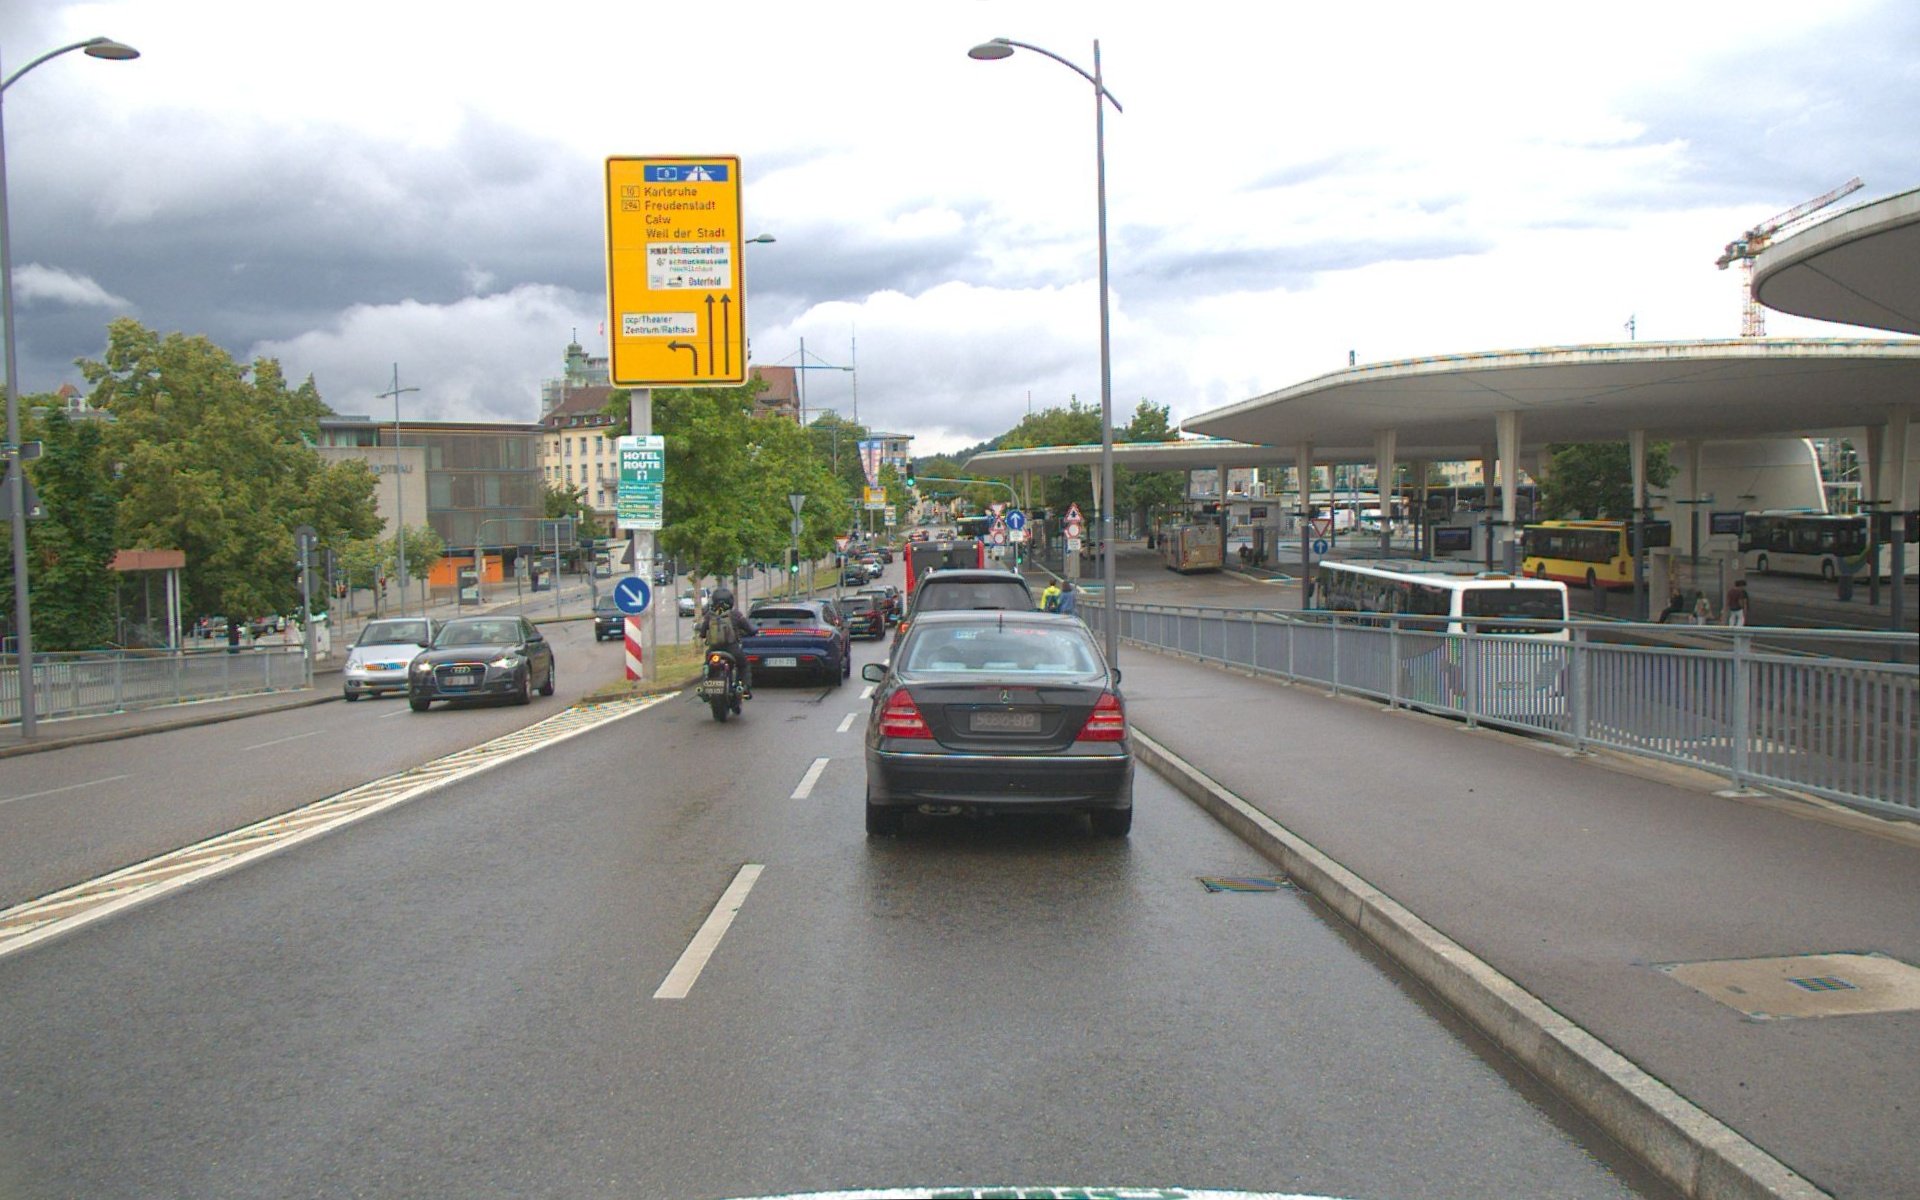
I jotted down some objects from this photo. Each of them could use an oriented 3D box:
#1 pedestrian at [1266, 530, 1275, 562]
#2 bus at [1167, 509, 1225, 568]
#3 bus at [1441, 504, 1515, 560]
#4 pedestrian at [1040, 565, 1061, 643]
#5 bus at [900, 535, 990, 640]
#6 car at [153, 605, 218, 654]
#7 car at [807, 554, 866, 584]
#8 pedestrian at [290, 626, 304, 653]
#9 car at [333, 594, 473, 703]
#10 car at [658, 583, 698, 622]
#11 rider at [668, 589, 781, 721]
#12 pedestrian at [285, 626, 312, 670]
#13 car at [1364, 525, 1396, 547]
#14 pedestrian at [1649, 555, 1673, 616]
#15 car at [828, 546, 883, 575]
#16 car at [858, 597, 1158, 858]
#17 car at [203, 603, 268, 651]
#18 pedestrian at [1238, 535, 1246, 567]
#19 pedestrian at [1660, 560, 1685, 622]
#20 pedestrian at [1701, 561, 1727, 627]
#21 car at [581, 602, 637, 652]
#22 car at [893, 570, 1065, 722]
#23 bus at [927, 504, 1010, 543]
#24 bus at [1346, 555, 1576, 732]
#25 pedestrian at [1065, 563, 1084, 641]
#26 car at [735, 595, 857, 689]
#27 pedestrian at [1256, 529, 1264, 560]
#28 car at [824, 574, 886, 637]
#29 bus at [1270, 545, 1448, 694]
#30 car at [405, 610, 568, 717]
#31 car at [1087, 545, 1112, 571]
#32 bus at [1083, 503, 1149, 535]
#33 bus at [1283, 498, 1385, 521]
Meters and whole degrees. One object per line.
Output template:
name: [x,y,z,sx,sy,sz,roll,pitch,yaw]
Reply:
pedestrian: [20.232,-3.487,107.815,0.415,2.049,0.483,-2,-1,1]
bus: [15.732,-4.021,110.835,3.111,3.663,10.516,-1,1,4]
bus: [32.339,-4.259,103.463,2.546,3.265,6.996,-2,2,1]
pedestrian: [2.393,0.116,43.909,0.479,2.049,0.470,-2,-1,1]
bus: [-0.540,-0.441,56.369,2.770,3.245,10.307,0,1,-1]
car: [-37.055,1.375,79.087,1.979,2.048,3.948,3,1,-37]
car: [-8.809,-2.206,117.898,3.903,2.048,2.001,-2,1,3]
pedestrian: [-22.341,1.318,55.747,0.294,0.888,0.298,-2,2,2]
car: [-11.389,0.931,34.077,1.956,2.049,3.993,-2,0,-8]
car: [-15.531,0.140,91.285,1.956,2.049,4.195,-2,0,-7]
rider: [-2.846,0.632,20.226,0.862,1.497,2.197,1,1,5]
pedestrian: [-22.300,1.629,55.746,0.634,1.433,0.531,-2,2,2]
car: [39.816,-6.090,156.905,1.953,2.048,4.000,-2,2,-1]
pedestrian: [23.823,-0.500,56.239,0.532,2.048,0.579,-2,1,0]
car: [-7.961,-3.015,126.606,3.903,2.048,2.001,-2,1,3]
car: [0.318,0.712,11.158,1.670,1.444,3.726,0,0,1]
car: [-35.381,1.299,80.750,1.979,2.048,3.948,3,1,-37]
pedestrian: [17.853,-3.088,104.668,0.415,2.048,0.483,-2,1,1]
pedestrian: [23.666,-0.302,54.914,0.532,2.048,0.579,-2,1,0]
pedestrian: [23.747,-0.189,52.080,0.549,2.048,0.483,-2,1,1]
car: [-15.138,1.139,71.480,1.956,2.049,4.195,-2,0,-7]
car: [0.340,0.488,20.725,1.788,1.716,4.003,0,1,6]
bus: [0.876,-8.573,183.937,3.235,4.076,10.744,-5,5,-38]
bus: [11.023,0.785,37.165,2.594,3.292,7.068,-2,4,-4]
pedestrian: [3.044,0.068,43.978,0.415,2.049,0.483,-2,-1,1]
car: [-2.748,0.667,28.432,1.724,1.461,4.000,0,1,0]
pedestrian: [20.174,-3.756,111.276,0.415,2.048,0.483,-2,1,1]
car: [-3.531,0.147,56.162,1.953,2.041,3.999,0,1,-1]
bus: [10.507,0.363,44.274,2.594,3.291,7.069,-2,4,-4]
car: [-7.853,0.991,27.820,1.797,1.553,4.589,-1,0,-6]
car: [11.497,-3.477,136.405,1.951,2.048,4.003,-1,1,5]
bus: [17.848,-9.280,189.815,7.057,3.455,3.080,-2,2,-5]
bus: [38.200,-9.282,169.150,9.967,2.048,2.168,-2,1,-4]
